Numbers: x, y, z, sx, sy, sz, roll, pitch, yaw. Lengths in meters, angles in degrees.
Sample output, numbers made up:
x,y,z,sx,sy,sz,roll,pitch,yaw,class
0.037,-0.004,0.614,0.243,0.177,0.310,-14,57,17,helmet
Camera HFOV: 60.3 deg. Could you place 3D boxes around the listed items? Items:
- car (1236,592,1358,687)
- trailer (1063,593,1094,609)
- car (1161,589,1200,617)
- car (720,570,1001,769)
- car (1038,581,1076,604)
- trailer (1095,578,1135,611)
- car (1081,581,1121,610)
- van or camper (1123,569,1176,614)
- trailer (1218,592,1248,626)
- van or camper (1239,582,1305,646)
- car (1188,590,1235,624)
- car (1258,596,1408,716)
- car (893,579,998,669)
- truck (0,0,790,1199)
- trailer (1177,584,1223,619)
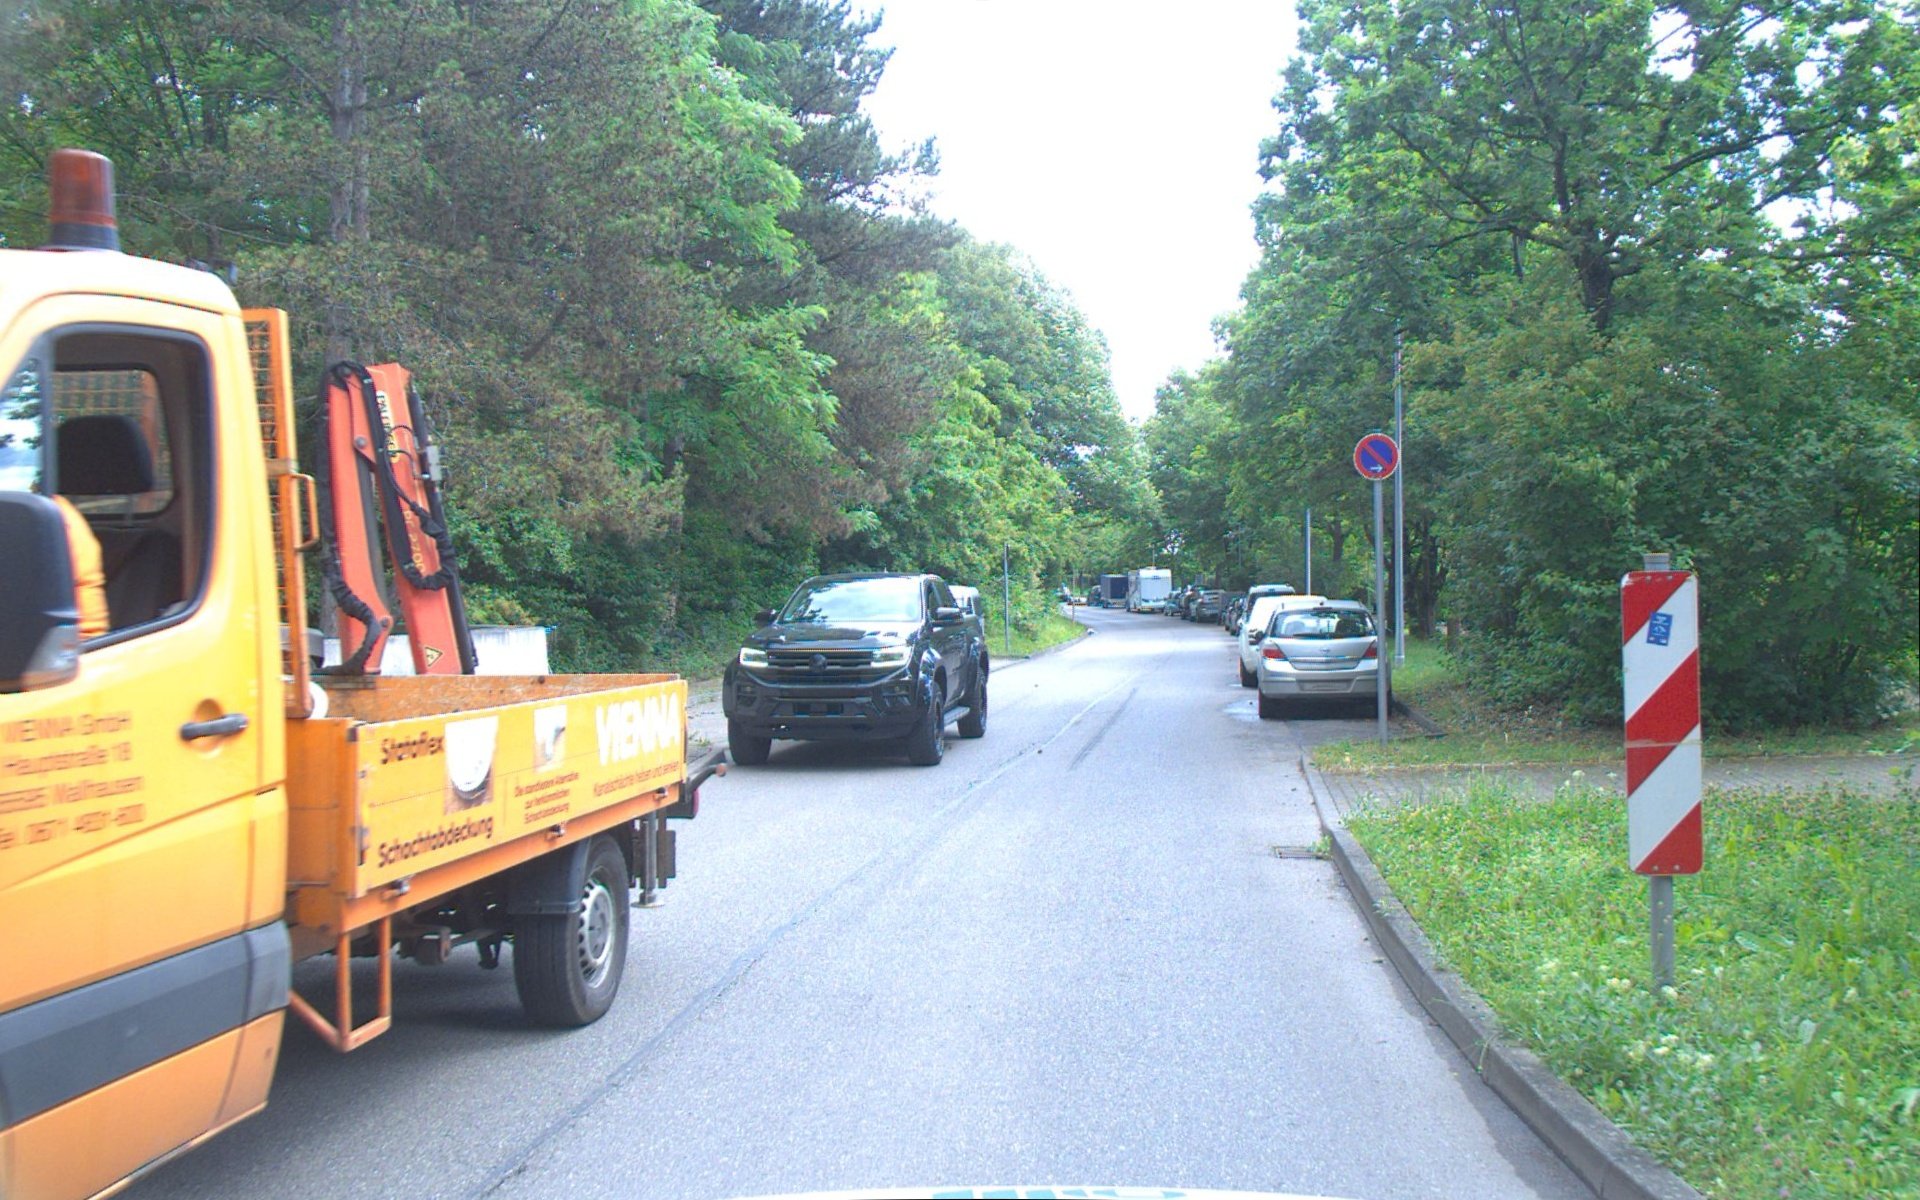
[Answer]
x,y,z,sx,sy,sz,roll,pitch,yaw,class
5.949,0.642,29.676,1.846,1.533,5.180,-1,0,9,car
9.550,0.049,133.181,1.621,1.105,3.992,-3,1,-8,trailer
13.641,0.176,102.421,1.763,1.589,3.835,-2,1,-1,car
-0.835,0.634,17.444,1.951,1.766,5.341,-1,0,8,car
8.347,-0.661,142.414,2.002,1.835,4.065,-2,1,-16,car
11.583,-0.418,123.795,1.958,2.440,3.990,-1,0,-11,trailer
10.981,-0.383,129.276,1.959,2.060,3.989,-4,2,-12,car
12.861,-0.570,112.977,2.433,2.926,6.885,-1,0,-3,van or camper
13.260,0.441,80.417,1.251,1.613,2.462,-1,0,4,trailer
9.567,0.469,50.971,1.763,1.870,4.323,-1,-1,8,van or camper
13.168,0.391,86.857,1.755,1.699,4.501,-2,-1,0,car
4.925,0.689,22.295,1.754,1.435,4.062,-2,0,10,car
-0.283,0.495,38.652,1.684,1.955,4.108,1,1,11,car
-2.334,0.180,4.626,2.273,2.513,6.025,1,1,8,truck
13.505,0.050,93.197,1.938,1.843,5.150,-2,1,1,trailer
